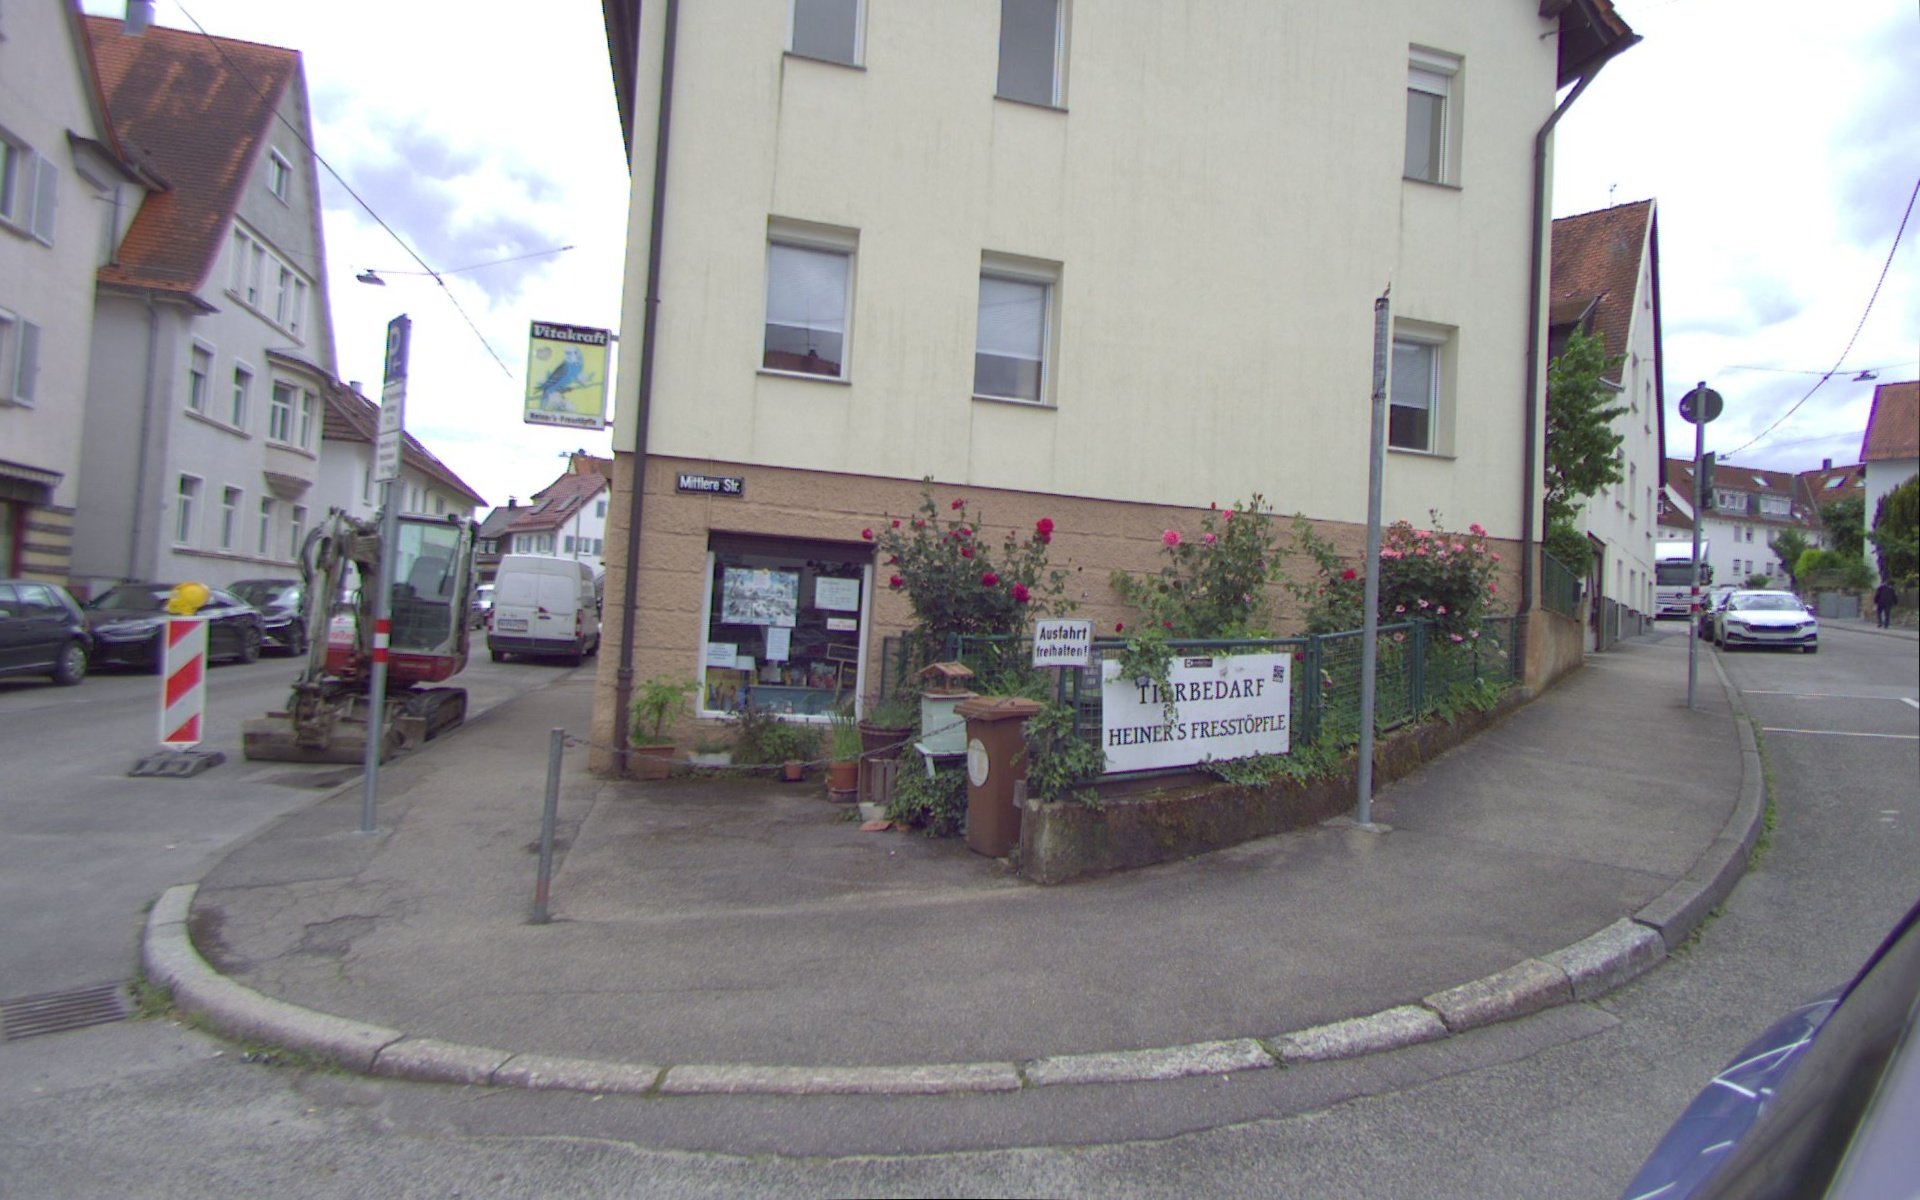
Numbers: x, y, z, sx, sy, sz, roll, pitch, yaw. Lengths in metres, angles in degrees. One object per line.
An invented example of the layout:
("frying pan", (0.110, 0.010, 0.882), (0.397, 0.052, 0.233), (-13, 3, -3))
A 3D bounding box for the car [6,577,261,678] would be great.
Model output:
("car", (-13.560, 0.389, 16.949), (1.662, 1.468, 4.112), (0, 0, -13))

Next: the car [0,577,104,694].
("car", (-12.463, 0.410, 12.273), (1.661, 1.421, 4.009), (1, 0, -16))

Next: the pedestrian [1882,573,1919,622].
("pedestrian", (33.813, -0.092, 36.309), (0.835, 1.699, 0.966), (-1, 0, 30))

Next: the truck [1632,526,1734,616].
("truck", (32.105, -1.208, 45.223), (2.660, 3.642, 8.026), (0, 1, 28))

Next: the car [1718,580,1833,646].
("car", (20.066, 0.266, 25.051), (1.788, 1.463, 4.247), (-1, 1, 33))

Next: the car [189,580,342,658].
("car", (-14.976, 0.364, 22.063), (1.661, 1.538, 4.112), (0, 0, -18))

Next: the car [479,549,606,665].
("car", (-10.330, 0.160, 25.580), (1.958, 2.418, 6.635), (5, -1, -15))

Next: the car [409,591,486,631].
("car", (-18.933, 0.379, 37.511), (1.662, 1.407, 3.721), (0, 0, -13))

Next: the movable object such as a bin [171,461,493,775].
("movable object such as a bin", (-6.300, 0.157, 10.789), (1.539, 2.532, 4.684), (5, -1, -16))

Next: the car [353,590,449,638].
("car", (-17.456, 0.407, 31.792), (1.662, 1.407, 3.721), (0, 0, -13))

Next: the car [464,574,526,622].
("car", (-20.694, -0.090, 45.161), (1.662, 2.029, 4.101), (0, 0, -13))
